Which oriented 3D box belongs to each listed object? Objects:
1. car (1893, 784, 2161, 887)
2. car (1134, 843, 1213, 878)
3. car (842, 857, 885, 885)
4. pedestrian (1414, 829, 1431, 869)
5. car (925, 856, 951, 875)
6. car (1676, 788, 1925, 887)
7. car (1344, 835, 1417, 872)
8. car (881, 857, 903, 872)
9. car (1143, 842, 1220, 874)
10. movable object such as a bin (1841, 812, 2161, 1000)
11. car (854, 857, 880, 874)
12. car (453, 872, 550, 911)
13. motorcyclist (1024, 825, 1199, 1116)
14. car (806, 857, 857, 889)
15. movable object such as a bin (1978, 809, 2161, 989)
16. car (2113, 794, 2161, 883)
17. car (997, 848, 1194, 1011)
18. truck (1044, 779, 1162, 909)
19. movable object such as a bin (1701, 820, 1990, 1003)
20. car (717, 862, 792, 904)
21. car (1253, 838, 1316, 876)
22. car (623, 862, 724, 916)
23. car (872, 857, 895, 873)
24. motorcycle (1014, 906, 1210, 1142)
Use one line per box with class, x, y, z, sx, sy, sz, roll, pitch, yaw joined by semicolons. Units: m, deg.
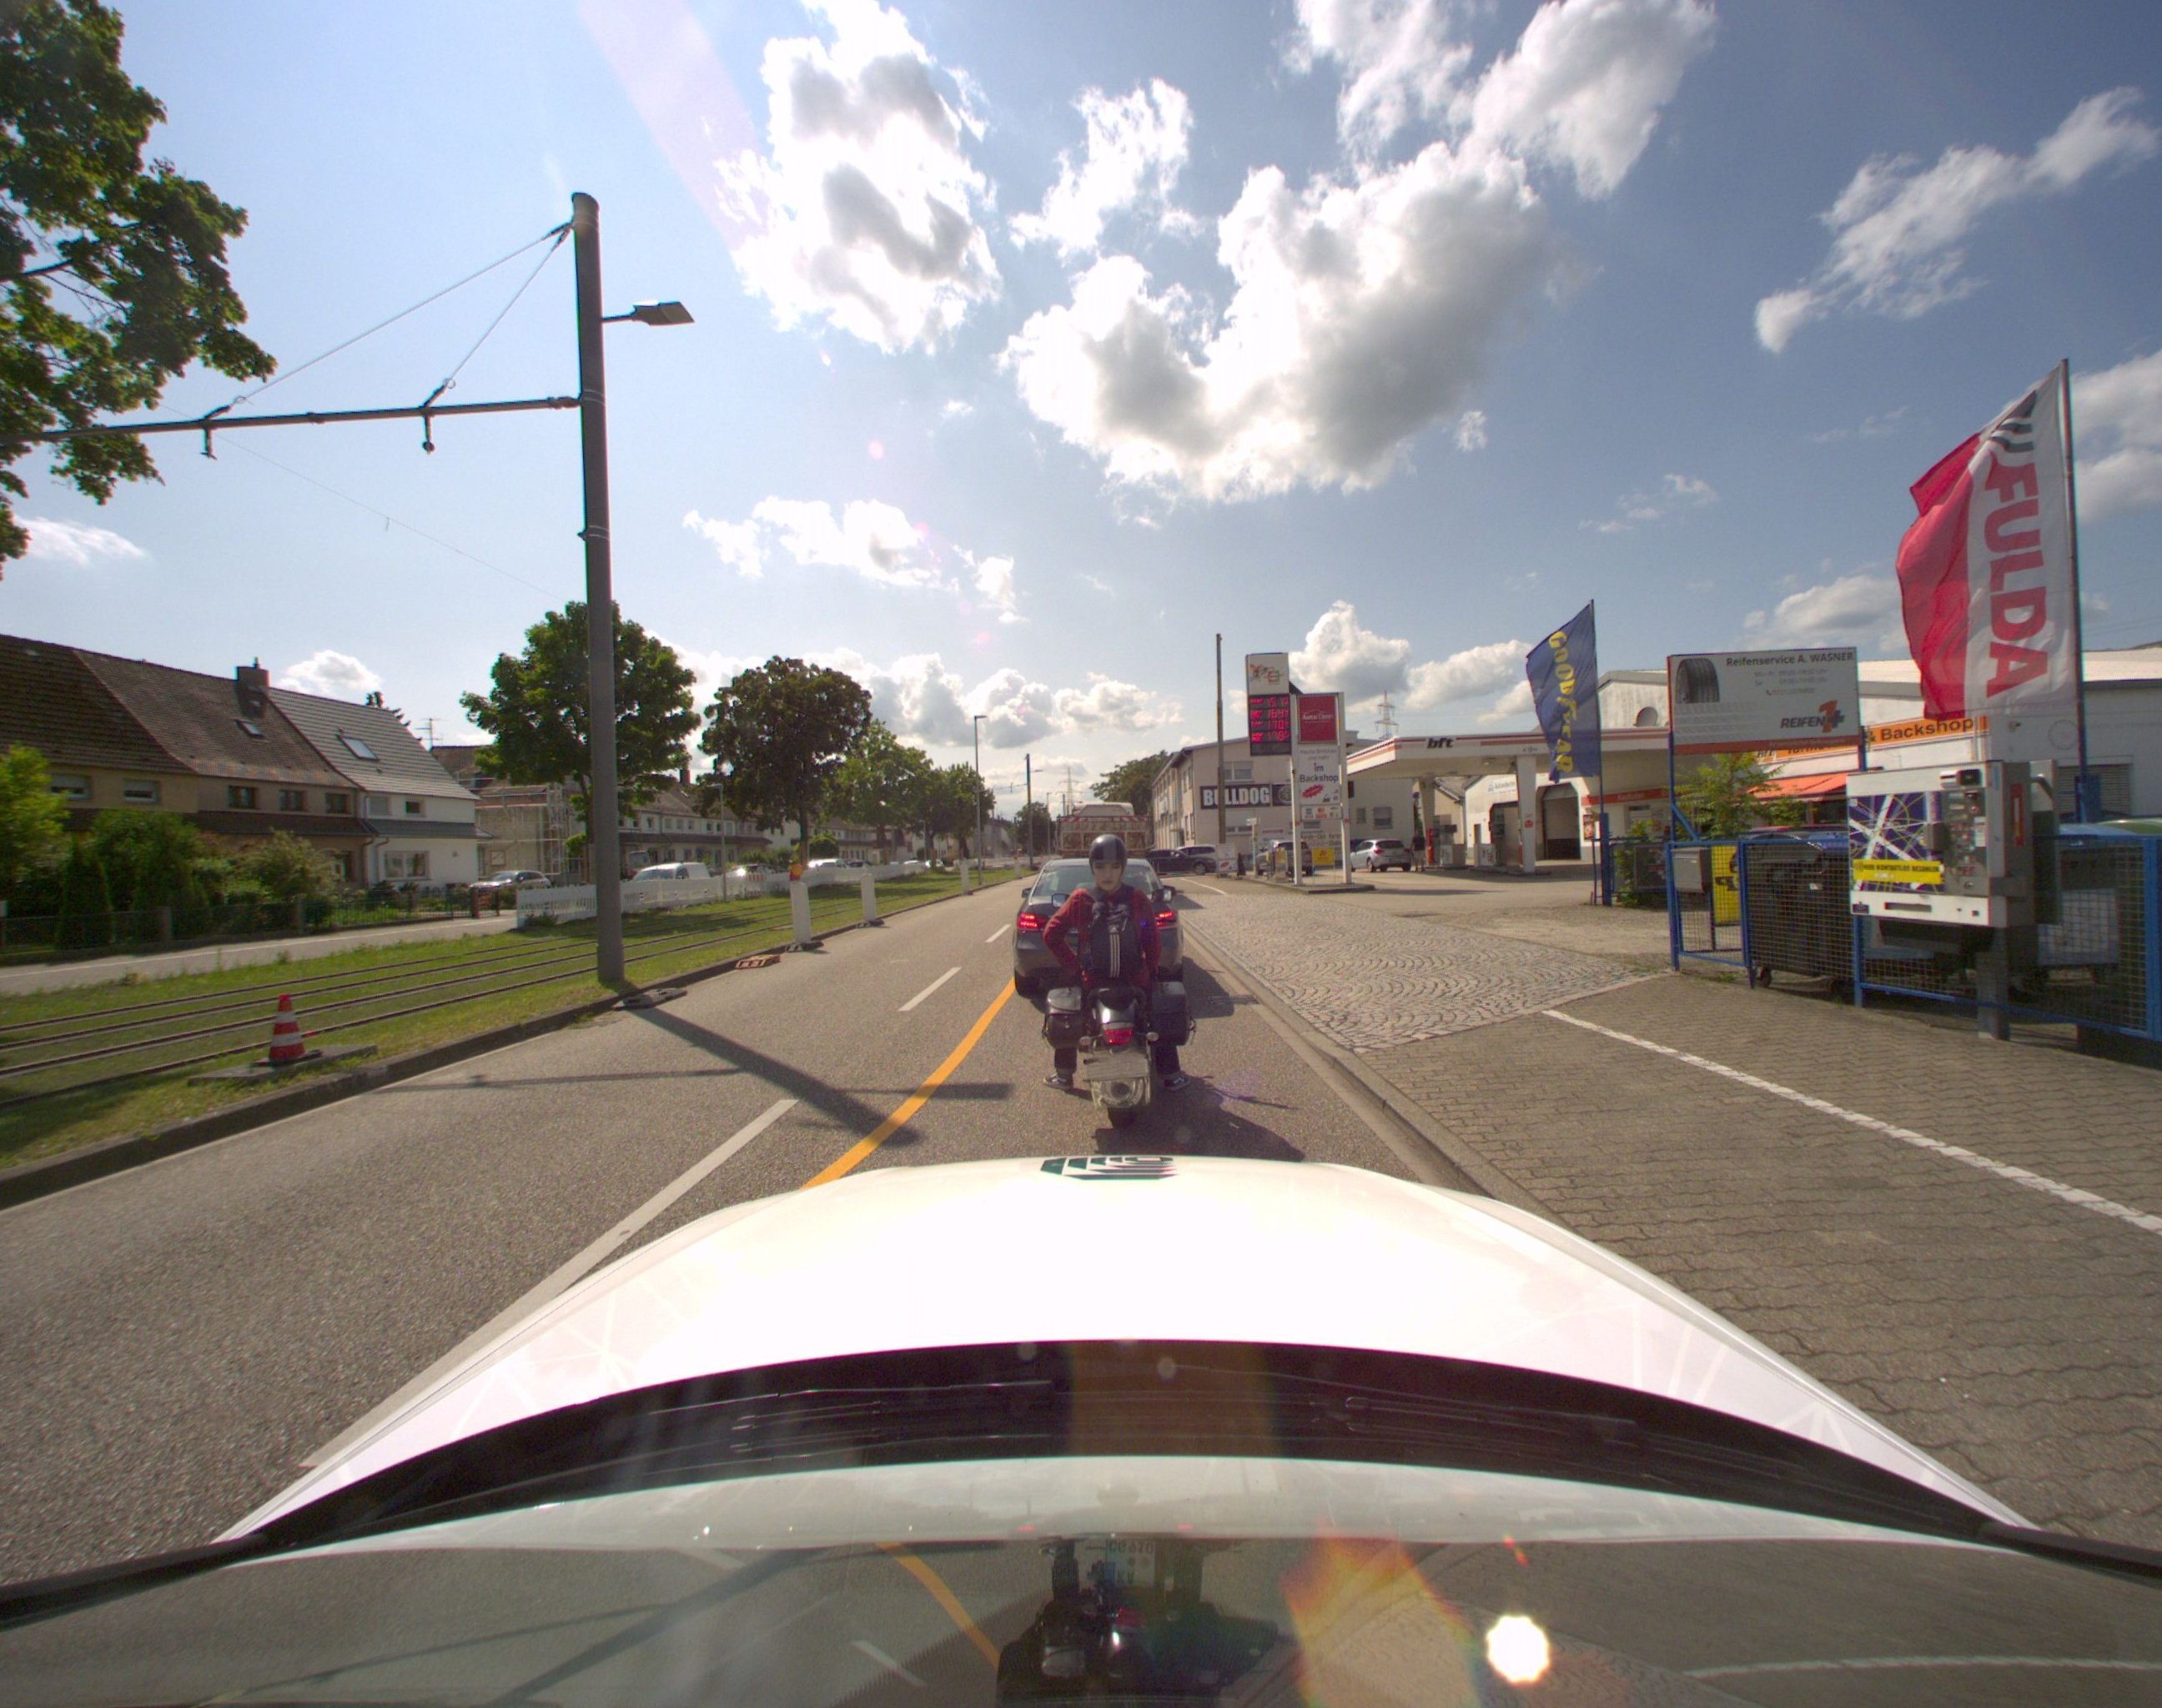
car;21.247;-0.403;18.270;3.972;2.013;2.001;-2;0;1
car;4.942;0.340;43.712;4.086;1.624;1.688;-2;0;5
car;-14.871;1.141;55.757;1.692;1.739;3.862;-2;0;2
pedestrian;14.839;-0.211;35.388;0.628;1.683;0.626;-2;0;23
car;-14.089;1.149;80.271;1.692;1.739;3.862;-2;0;2
car;16.599;-0.373;18.962;3.972;2.013;2.001;-2;0;1
car;13.535;-0.024;37.069;1.826;1.479;4.009;-3;0;1
car;-24.383;1.346;105.364;1.692;1.739;4.064;-2;0;2
car;5.762;0.227;47.049;4.101;1.624;1.682;-3;0;-7
movable object such as a bin;8.102;0.415;7.280;1.222;1.454;1.455;-2;0;0
car;-24.469;1.304;93.137;1.692;1.739;4.064;-2;0;2
car;-27.482;1.733;38.792;1.692;1.593;3.862;-2;0;2
motorcyclist;0.192;0.653;5.195;0.966;1.633;1.215;-1;0;1
car;-15.085;1.112;49.390;1.692;1.739;3.862;-2;0;2
movable object such as a bin;9.447;0.334;7.190;1.425;1.454;1.455;-2;0;0
car;26.349;-0.436;18.186;3.972;2.013;2.001;-2;0;1
car;0.169;0.720;9.822;1.826;1.479;4.009;-3;0;1
truck;0.639;-0.282;25.604;2.960;3.304;8.407;-2;0;1
movable object such as a bin;6.822;0.469;7.404;1.222;1.454;1.455;-2;0;0
car;-15.329;1.326;38.486;1.692;1.739;4.056;-2;0;2
car;9.065;0.121;36.576;1.826;1.536;4.009;-3;0;1
car;-15.421;1.279;31.055;1.692;1.817;3.862;-2;0;2
car;-24.054;1.338;99.340;1.692;1.739;4.064;-2;0;2
motorcycle;0.193;0.931;5.313;0.972;1.013;2.433;-1;0;2
